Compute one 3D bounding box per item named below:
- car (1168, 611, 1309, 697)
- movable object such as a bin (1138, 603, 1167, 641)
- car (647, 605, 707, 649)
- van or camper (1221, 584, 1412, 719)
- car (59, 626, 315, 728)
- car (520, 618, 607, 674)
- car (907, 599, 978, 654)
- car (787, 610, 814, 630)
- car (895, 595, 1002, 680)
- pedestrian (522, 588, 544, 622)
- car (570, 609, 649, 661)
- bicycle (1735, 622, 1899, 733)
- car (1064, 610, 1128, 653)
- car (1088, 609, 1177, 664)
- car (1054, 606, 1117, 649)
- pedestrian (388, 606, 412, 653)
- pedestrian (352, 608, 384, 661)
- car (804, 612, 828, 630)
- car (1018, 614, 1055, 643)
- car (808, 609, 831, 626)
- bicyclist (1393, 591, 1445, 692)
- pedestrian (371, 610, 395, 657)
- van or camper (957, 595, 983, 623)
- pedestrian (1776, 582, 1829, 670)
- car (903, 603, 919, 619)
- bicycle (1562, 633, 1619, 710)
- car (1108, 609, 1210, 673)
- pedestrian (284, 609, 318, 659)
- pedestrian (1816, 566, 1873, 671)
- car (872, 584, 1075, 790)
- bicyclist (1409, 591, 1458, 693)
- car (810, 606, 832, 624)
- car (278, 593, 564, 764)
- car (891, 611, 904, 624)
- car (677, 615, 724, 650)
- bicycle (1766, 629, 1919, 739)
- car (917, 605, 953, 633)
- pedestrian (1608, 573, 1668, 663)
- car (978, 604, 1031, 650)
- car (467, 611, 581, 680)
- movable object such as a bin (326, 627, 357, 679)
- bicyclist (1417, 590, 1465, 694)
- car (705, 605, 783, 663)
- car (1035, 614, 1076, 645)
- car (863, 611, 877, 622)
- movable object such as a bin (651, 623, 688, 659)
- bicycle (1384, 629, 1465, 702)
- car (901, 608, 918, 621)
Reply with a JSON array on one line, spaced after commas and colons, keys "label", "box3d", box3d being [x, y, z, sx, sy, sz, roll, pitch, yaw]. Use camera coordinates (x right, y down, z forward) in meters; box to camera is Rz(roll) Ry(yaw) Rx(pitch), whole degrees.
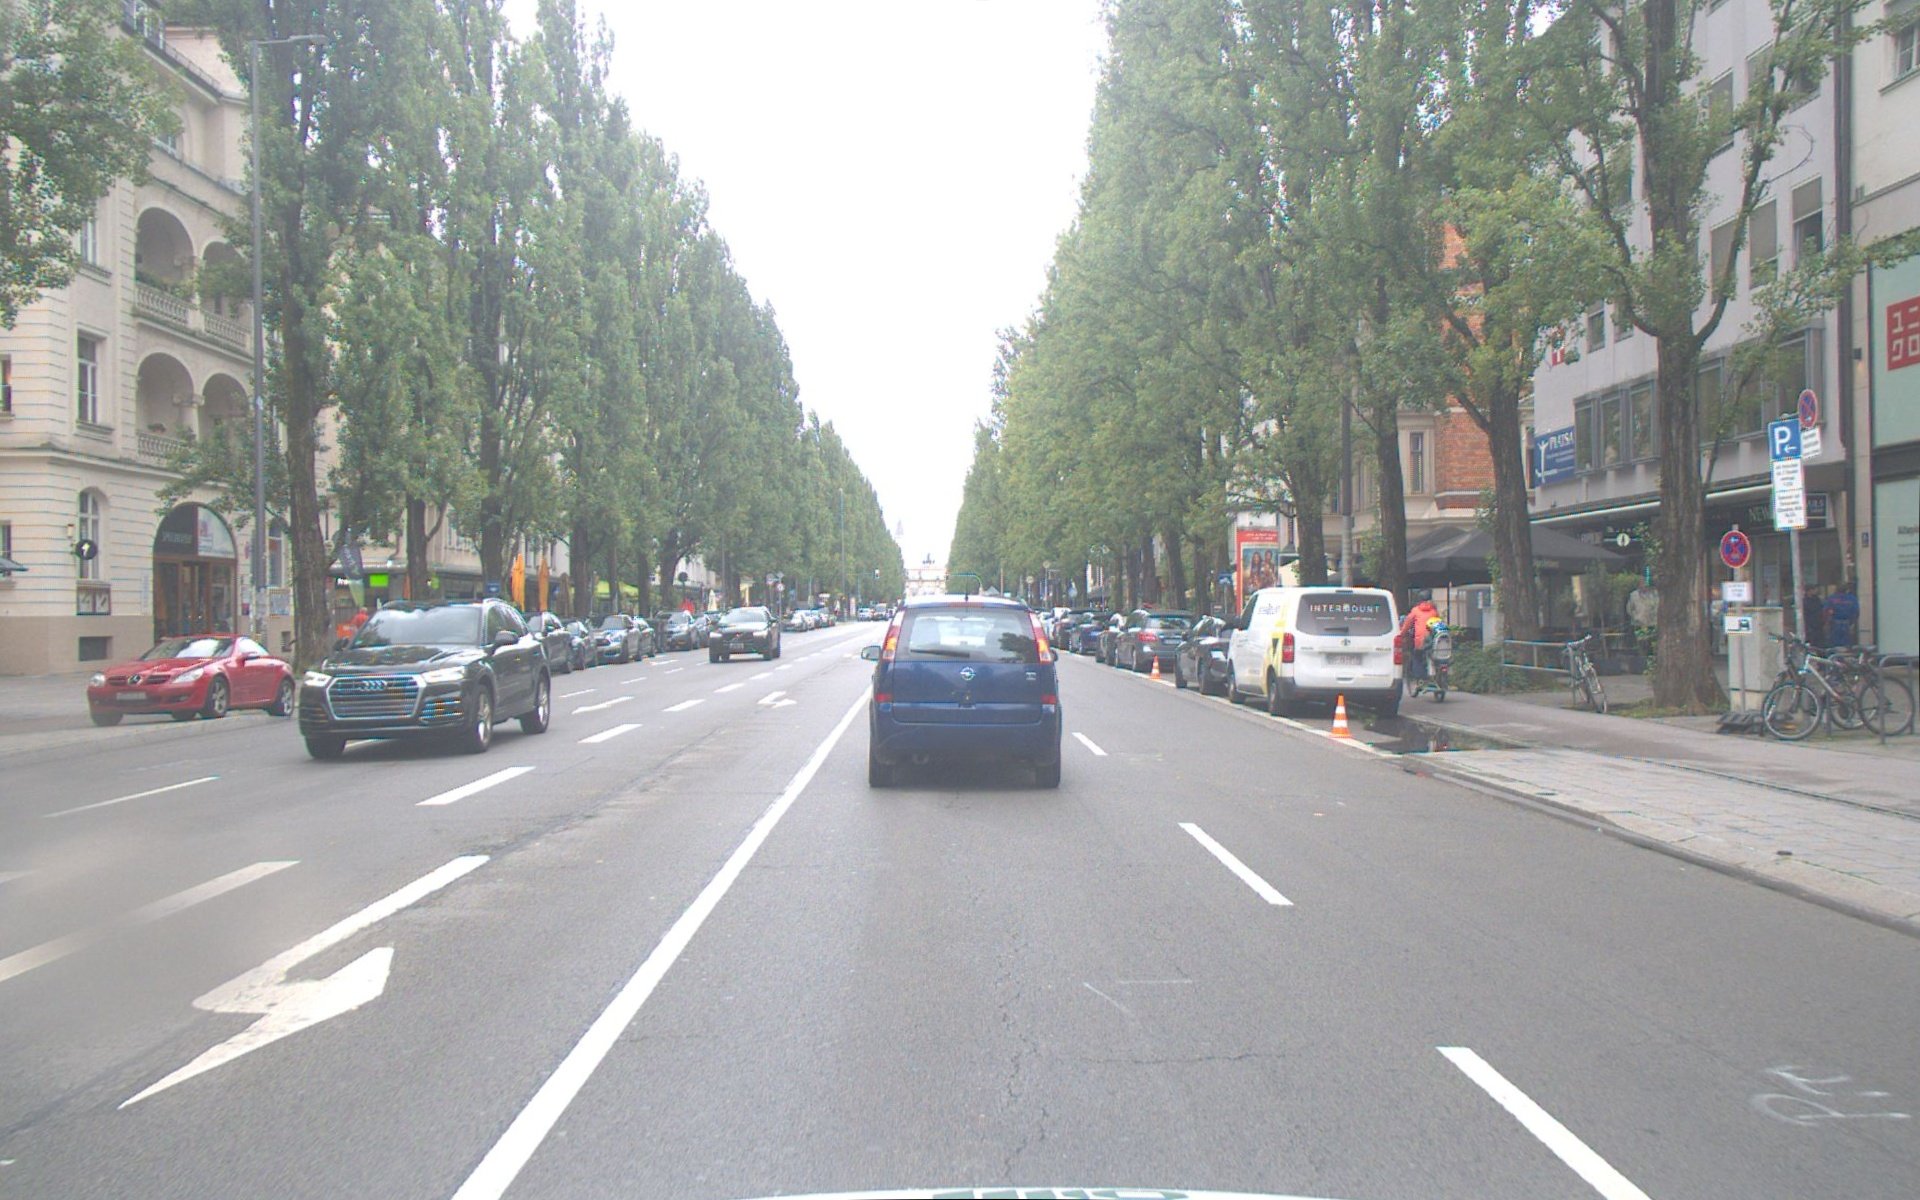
[{"label": "car", "box3d": [5.135, 0.960, 31.053, 1.685, 1.467, 4.351, 1, 0, -3]}, {"label": "movable object such as a bin", "box3d": [8.841, 0.996, 76.076, 1.012, 1.733, 1.585, -1, -1, -5]}, {"label": "car", "box3d": [-11.975, 1.129, 70.187, 1.827, 1.683, 4.613, -3, 0, -2]}, {"label": "van or camper", "box3d": [5.434, 0.744, 25.878, 1.831, 1.916, 4.901, 0, 0, -1]}, {"label": "car", "box3d": [-11.402, 1.090, 24.728, 1.840, 1.321, 4.095, -1, 0, 1]}, {"label": "car", "box3d": [-11.437, 1.286, 47.977, 1.651, 1.449, 4.683, -3, 0, -4]}, {"label": "car", "box3d": [-0.557, 0.765, 48.532, 1.953, 1.524, 3.998, -1, 0, -2]}, {"label": "car", "box3d": [-12.015, 1.523, 124.855, 1.793, 1.445, 3.810, 0, -1, -1]}, {"label": "car", "box3d": [-0.280, 0.693, 32.335, 1.953, 1.524, 3.998, -1, 0, -2]}, {"label": "pedestrian", "box3d": [-22.421, 0.261, 86.843, 0.834, 1.775, 1.148, 0, 0, -1]}, {"label": "car", "box3d": [-11.283, 1.100, 53.472, 1.746, 1.603, 4.131, -1, 0, -1]}, {"label": "bicycle", "box3d": [9.789, 0.875, 18.901, 1.707, 1.130, 0.447, -3, 0, -11]}, {"label": "car", "box3d": [4.695, 1.062, 57.552, 1.714, 1.430, 4.462, 0, 0, -2]}, {"label": "car", "box3d": [4.869, 1.016, 47.356, 1.840, 1.457, 4.802, -1, 0, -2]}, {"label": "car", "box3d": [4.830, 1.045, 64.327, 1.953, 1.592, 4.482, -1, 0, -2]}, {"label": "pedestrian", "box3d": [-20.999, 1.103, 62.065, 0.612, 1.752, 0.826, -1, -1, -2]}, {"label": "pedestrian", "box3d": [-19.403, 1.125, 54.246, 0.719, 1.702, 0.952, -1, 0, -1]}, {"label": "car", "box3d": [-12.863, 1.898, 148.156, 1.922, 1.557, 3.998, -1, 0, -3]}, {"label": "car", "box3d": [4.045, 1.491, 87.903, 1.648, 1.439, 3.581, 1, 0, -2]}, {"label": "car", "box3d": [-13.366, 1.624, 157.510, 1.922, 1.576, 3.777, -1, 0, -2]}, {"label": "bicyclist", "box3d": [7.539, 0.674, 27.198, 0.609, 1.616, 0.752, -1, -1, -2]}, {"label": "pedestrian", "box3d": [-21.627, 1.252, 62.029, 0.612, 1.752, 0.826, -1, -1, -2]}, {"label": "van or camper", "box3d": [0.982, 0.886, 162.254, 2.426, 2.626, 5.843, -1, 0, -1]}, {"label": "pedestrian", "box3d": [15.915, 0.494, 31.255, 0.656, 1.637, 0.772, 1, -1, 6]}, {"label": "car", "box3d": [-5.666, 1.296, 190.812, 1.798, 1.792, 3.777, -1, 0, -2]}, {"label": "bicycle", "box3d": [9.233, 1.025, 24.254, 0.357, 1.056, 1.732, -1, 0, 7]}, {"label": "car", "box3d": [5.025, 1.003, 42.249, 1.781, 1.532, 4.228, -1, 0, -4]}, {"label": "pedestrian", "box3d": [-20.663, 1.056, 51.849, 0.753, 1.564, 0.804, 0, -1, -2]}, {"label": "pedestrian", "box3d": [15.971, 0.328, 29.892, 0.852, 1.861, 0.835, -1, -1, 26]}, {"label": "car", "box3d": [0.044, 0.714, 15.438, 1.647, 1.670, 3.998, 0, 0, -2]}, {"label": "bicyclist", "box3d": [7.566, 0.664, 26.428, 0.609, 1.616, 0.481, -1, -1, -2]}, {"label": "car", "box3d": [-13.814, 1.485, 164.177, 1.953, 1.691, 3.998, -1, 0, -2]}, {"label": "car", "box3d": [-5.998, 0.802, 19.024, 1.874, 1.710, 4.584, -1, 0, -1]}, {"label": "car", "box3d": [-8.877, 2.495, 236.266, 1.798, 1.706, 3.777, -1, 0, -2]}, {"label": "car", "box3d": [-12.044, 1.485, 76.902, 1.663, 1.577, 4.080, -1, 0, -2]}, {"label": "bicycle", "box3d": [9.822, 0.911, 18.196, 1.727, 1.062, 0.482, -4, 0, -12]}, {"label": "car", "box3d": [-1.460, 1.083, 95.699, 1.953, 1.524, 3.998, -1, 0, -2]}, {"label": "pedestrian", "box3d": [14.389, 0.383, 35.124, 0.809, 1.873, 1.099, -1, -1, 2]}, {"label": "car", "box3d": [1.580, 0.964, 60.060, 1.672, 1.601, 3.998, -1, 0, -2]}, {"label": "car", "box3d": [-11.235, 1.133, 42.943, 1.766, 1.622, 4.629, -2, 0, -1]}, {"label": "movable object such as a bin", "box3d": [-16.170, 1.374, 43.234, 0.592, 1.339, 0.586, -1, -1, -1]}, {"label": "bicyclist", "box3d": [7.571, 0.659, 26.057, 0.609, 1.616, 0.391, -1, -1, -2]}, {"label": "car", "box3d": [-6.630, 1.024, 51.185, 1.896, 1.652, 4.335, -2, 0, -1]}, {"label": "car", "box3d": [4.599, 1.402, 80.178, 1.637, 1.431, 4.125, 1, 0, -2]}, {"label": "car", "box3d": [-13.299, 2.461, 244.652, 1.922, 1.576, 3.777, -1, 0, -2]}, {"label": "movable object such as a bin", "box3d": [-11.386, 1.599, 64.808, 1.251, 1.333, 0.901, 2, -1, -1]}, {"label": "bicycle", "box3d": [7.551, 1.039, 26.994, 0.614, 1.106, 2.262, -1, 0, -2]}, {"label": "car", "box3d": [-5.609, 1.589, 184.551, 1.922, 1.424, 3.777, -1, 0, -2]}]
